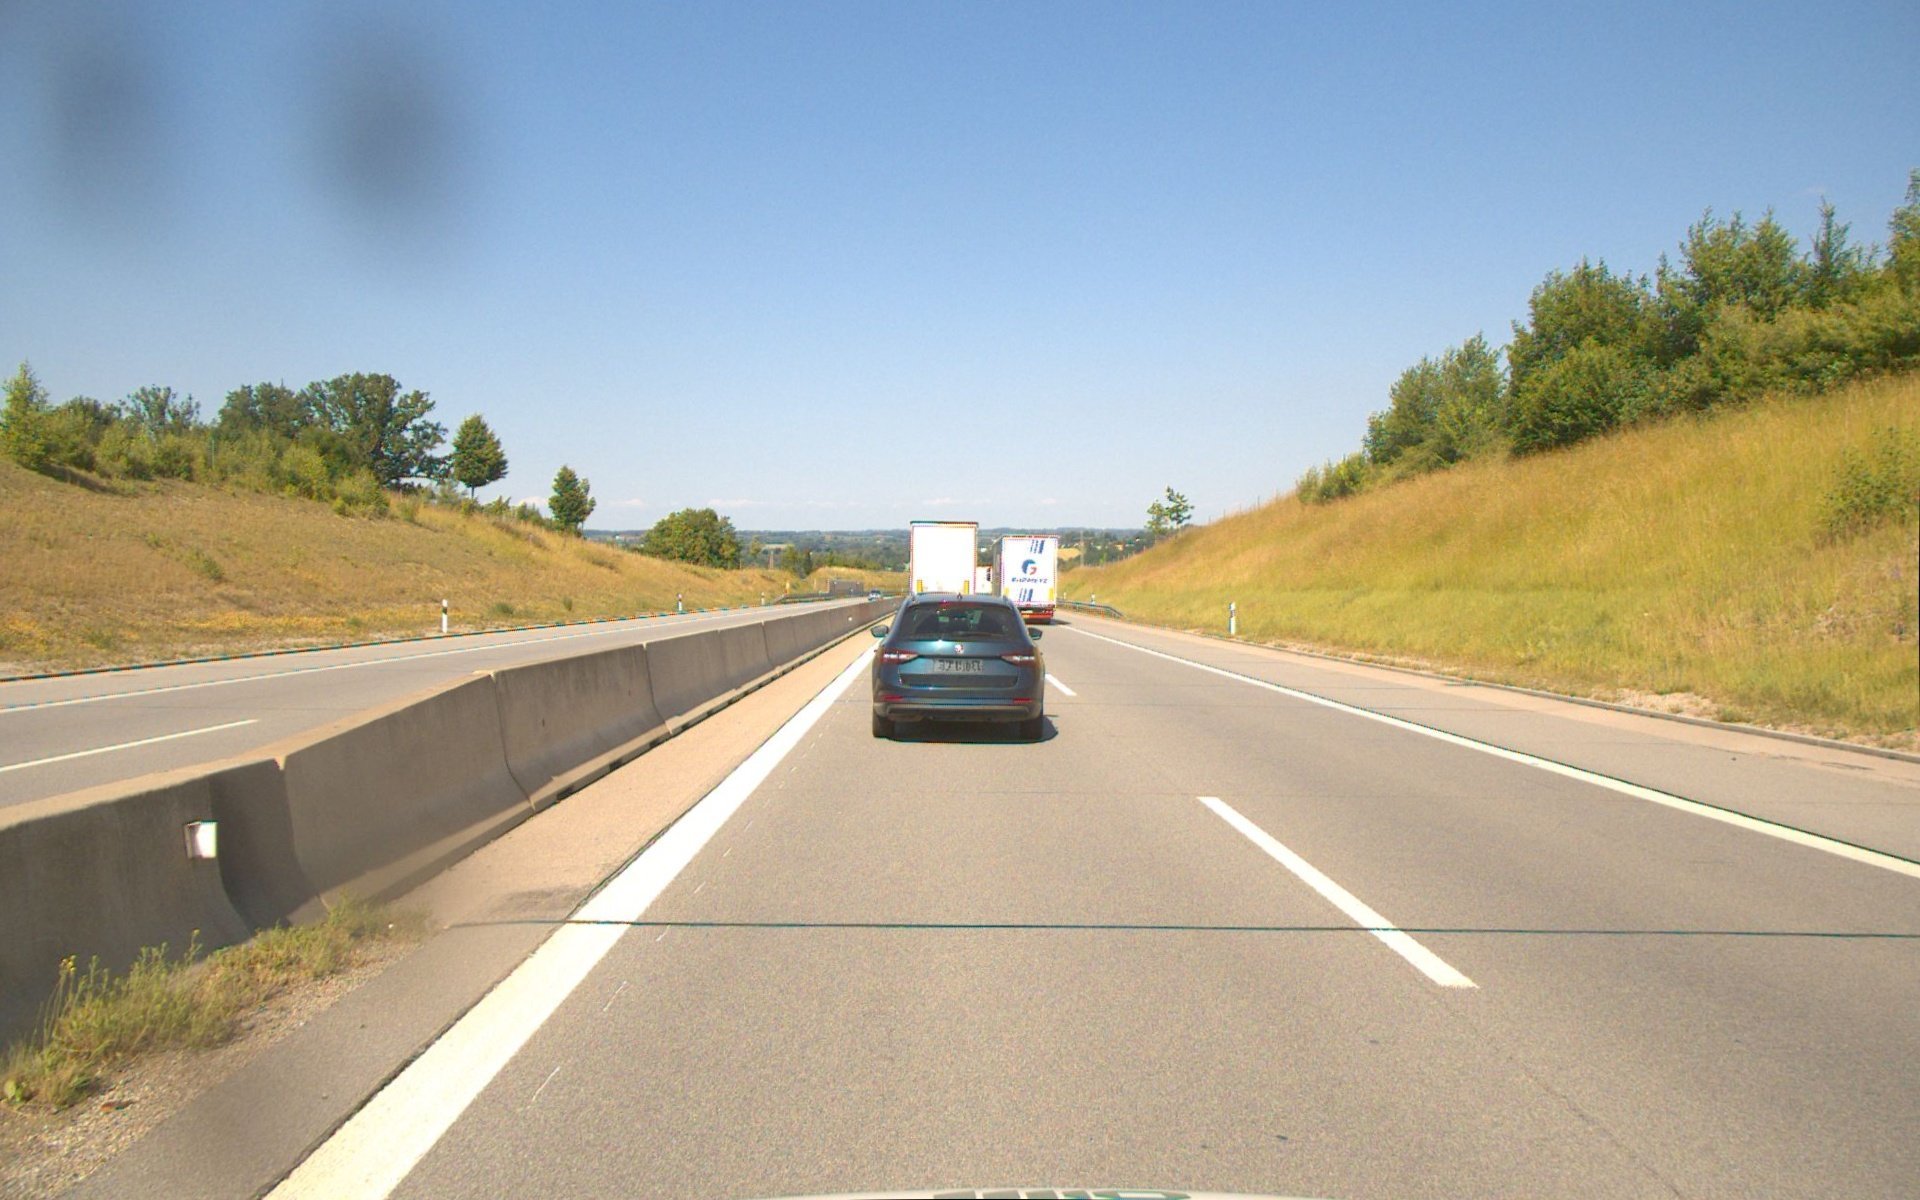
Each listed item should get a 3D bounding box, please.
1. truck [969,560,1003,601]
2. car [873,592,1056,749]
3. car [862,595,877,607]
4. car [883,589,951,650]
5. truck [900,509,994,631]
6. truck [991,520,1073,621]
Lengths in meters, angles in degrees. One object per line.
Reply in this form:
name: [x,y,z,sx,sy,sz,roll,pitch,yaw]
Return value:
truck: [3.033,-2.190,188.380,3.529,4.457,11.237,-2,0,2]
car: [-0.012,0.661,17.713,1.741,1.466,3.787,-1,0,-2]
car: [-11.965,0.137,218.954,1.766,1.497,4.527,0,0,0]
car: [-1.129,0.467,43.457,1.666,1.466,3.999,-2,0,-2]
truck: [-0.365,-1.165,67.342,3.144,4.457,11.237,-2,0,2]
truck: [3.433,-1.389,79.991,3.529,4.457,11.237,-2,0,2]
